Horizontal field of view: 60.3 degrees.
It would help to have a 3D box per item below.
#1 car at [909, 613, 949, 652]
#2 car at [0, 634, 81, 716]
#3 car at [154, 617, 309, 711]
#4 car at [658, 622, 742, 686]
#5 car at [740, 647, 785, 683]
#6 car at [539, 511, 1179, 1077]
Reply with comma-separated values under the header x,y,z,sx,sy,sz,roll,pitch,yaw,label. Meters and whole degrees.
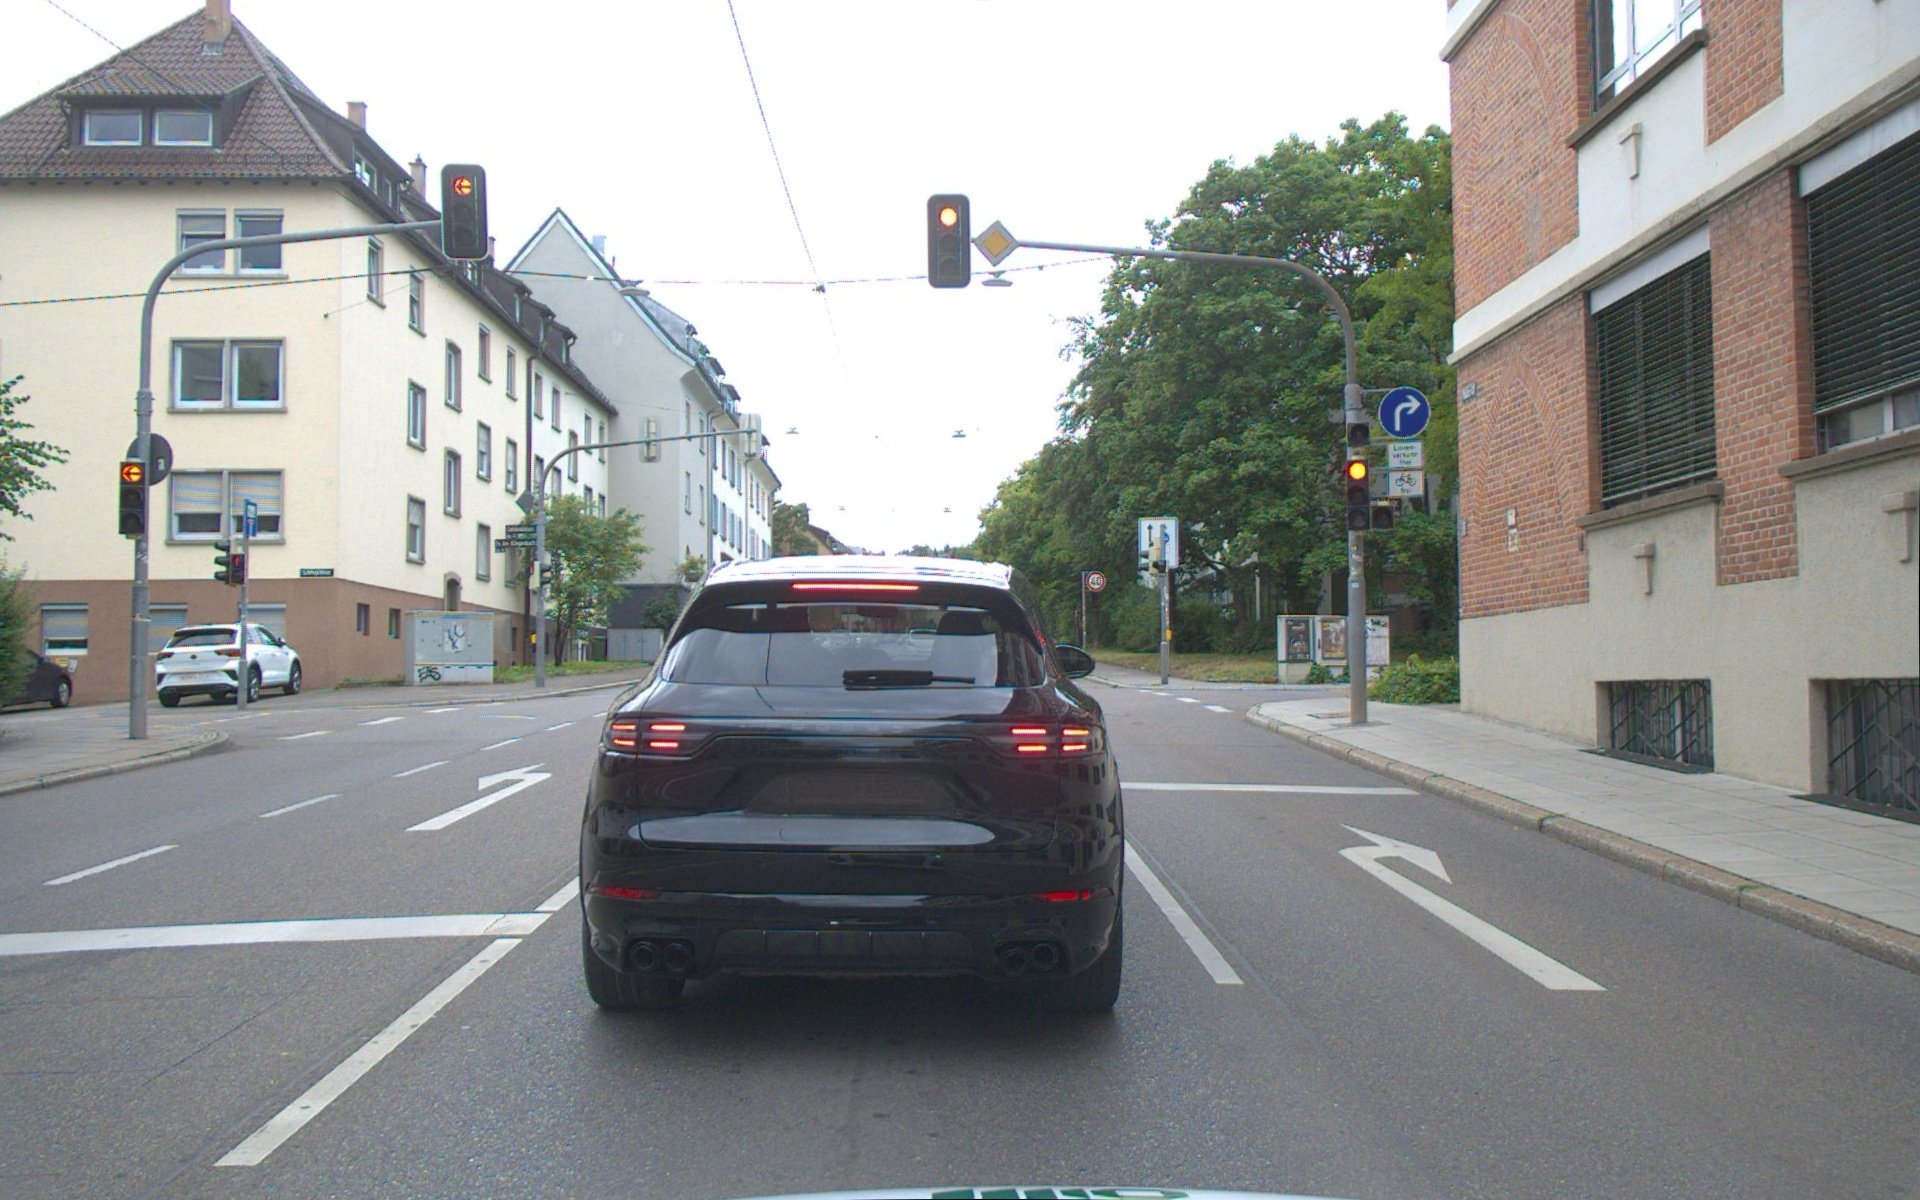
x,y,z,sx,sy,sz,roll,pitch,yaw,label
-1.381,1.401,72.134,1.654,1.579,3.887,1,0,-2,car
-19.717,1.548,33.479,1.636,1.573,4.100,-3,0,-1,car
-14.738,1.240,33.694,1.638,1.691,3.995,-3,0,-5,car
-7.102,1.449,45.417,1.630,1.545,3.739,-4,0,0,car
-8.230,2.699,69.187,1.637,1.386,3.997,0,0,-4,car
-0.336,0.611,7.126,1.953,1.726,3.999,1,0,-1,car
